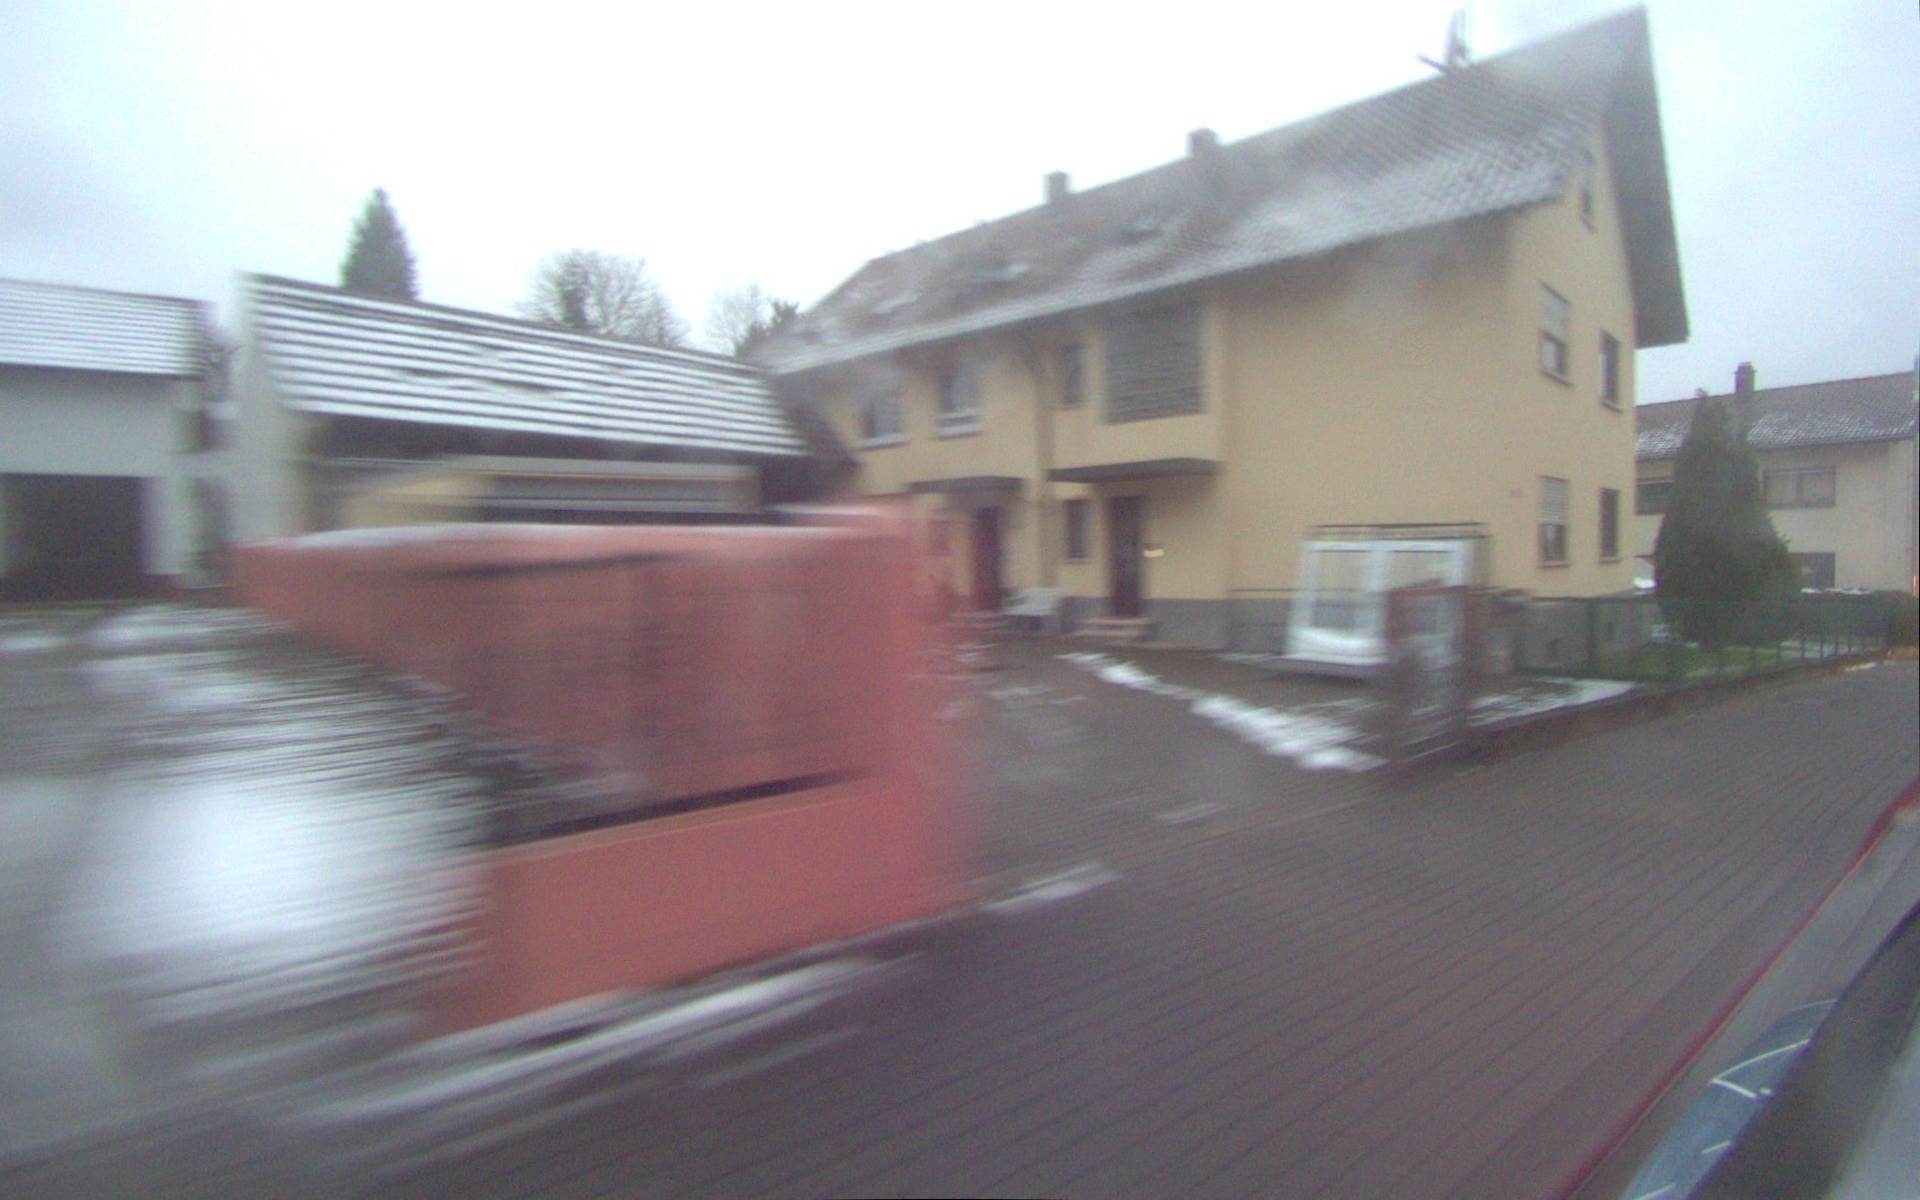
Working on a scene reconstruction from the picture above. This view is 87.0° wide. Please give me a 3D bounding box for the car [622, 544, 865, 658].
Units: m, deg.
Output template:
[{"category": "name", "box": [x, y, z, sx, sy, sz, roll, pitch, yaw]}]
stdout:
[{"category": "car", "box": [-3.608, -0.073, 16.480, 3.987, 1.612, 1.969, 3, 3, 43]}]
